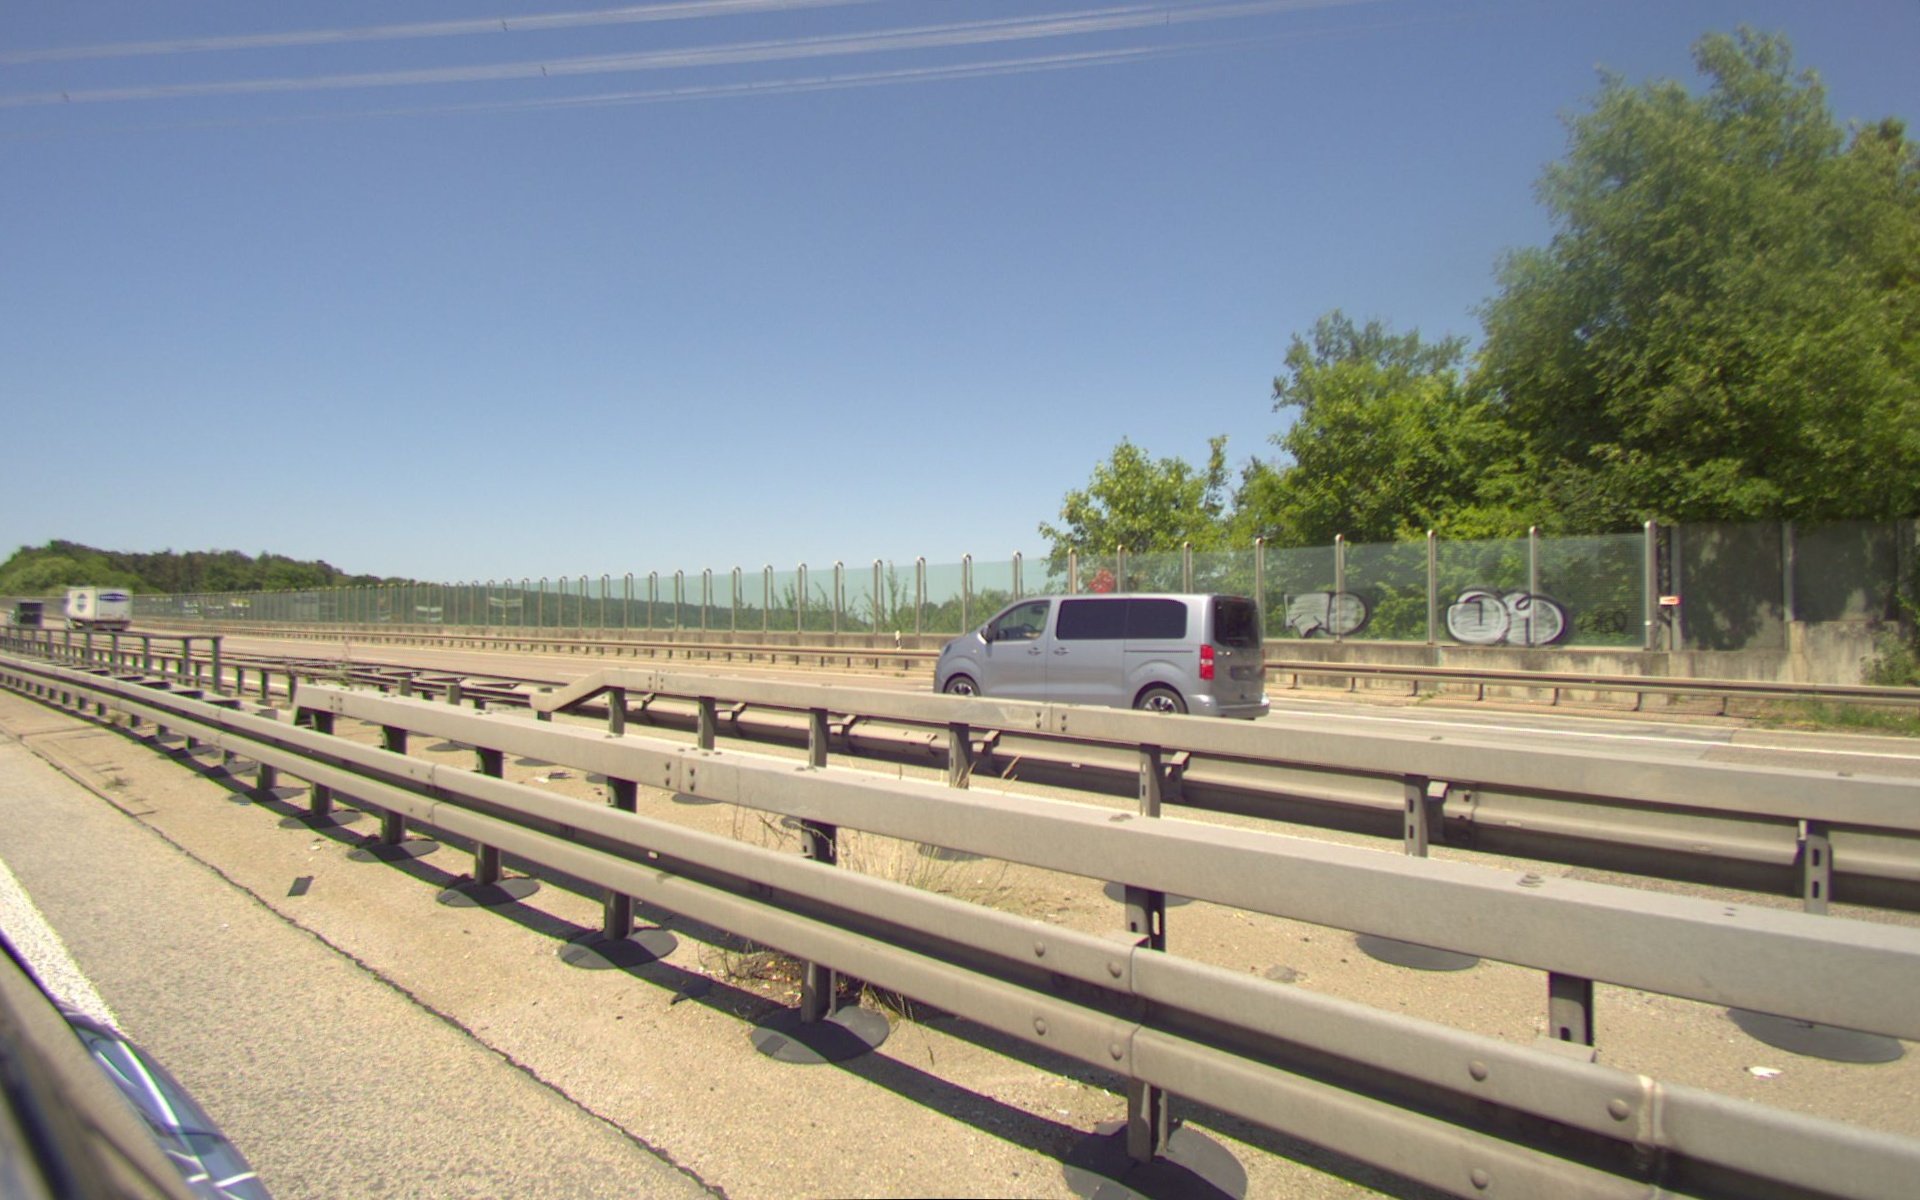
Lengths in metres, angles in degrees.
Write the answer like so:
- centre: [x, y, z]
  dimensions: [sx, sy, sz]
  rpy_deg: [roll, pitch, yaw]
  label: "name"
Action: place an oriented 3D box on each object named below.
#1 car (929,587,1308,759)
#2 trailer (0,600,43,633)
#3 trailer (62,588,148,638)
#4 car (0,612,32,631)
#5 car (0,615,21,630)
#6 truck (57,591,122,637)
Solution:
- centre: [2.034, 0.833, 14.012]
  dimensions: [4.895, 1.955, 1.973]
  rpy_deg: [0, 1, 42]
  label: "car"
- centre: [-83.472, 1.431, 89.994]
  dimensions: [5.374, 2.798, 2.143]
  rpy_deg: [0, -4, 42]
  label: "trailer"
- centre: [-77.632, 1.227, 91.717]
  dimensions: [14.035, 4.267, 3.947]
  rpy_deg: [-1, -2, 42]
  label: "trailer"
- centre: [-87.106, 1.986, 93.264]
  dimensions: [4.627, 1.637, 1.851]
  rpy_deg: [0, 1, 42]
  label: "car"
- centre: [-114.848, 2.737, 122.120]
  dimensions: [4.384, 1.709, 1.730]
  rpy_deg: [0, -2, 42]
  label: "car"
- centre: [-83.134, 1.340, 96.607]
  dimensions: [4.856, 4.260, 3.964]
  rpy_deg: [-1, -2, 41]
  label: "truck"
